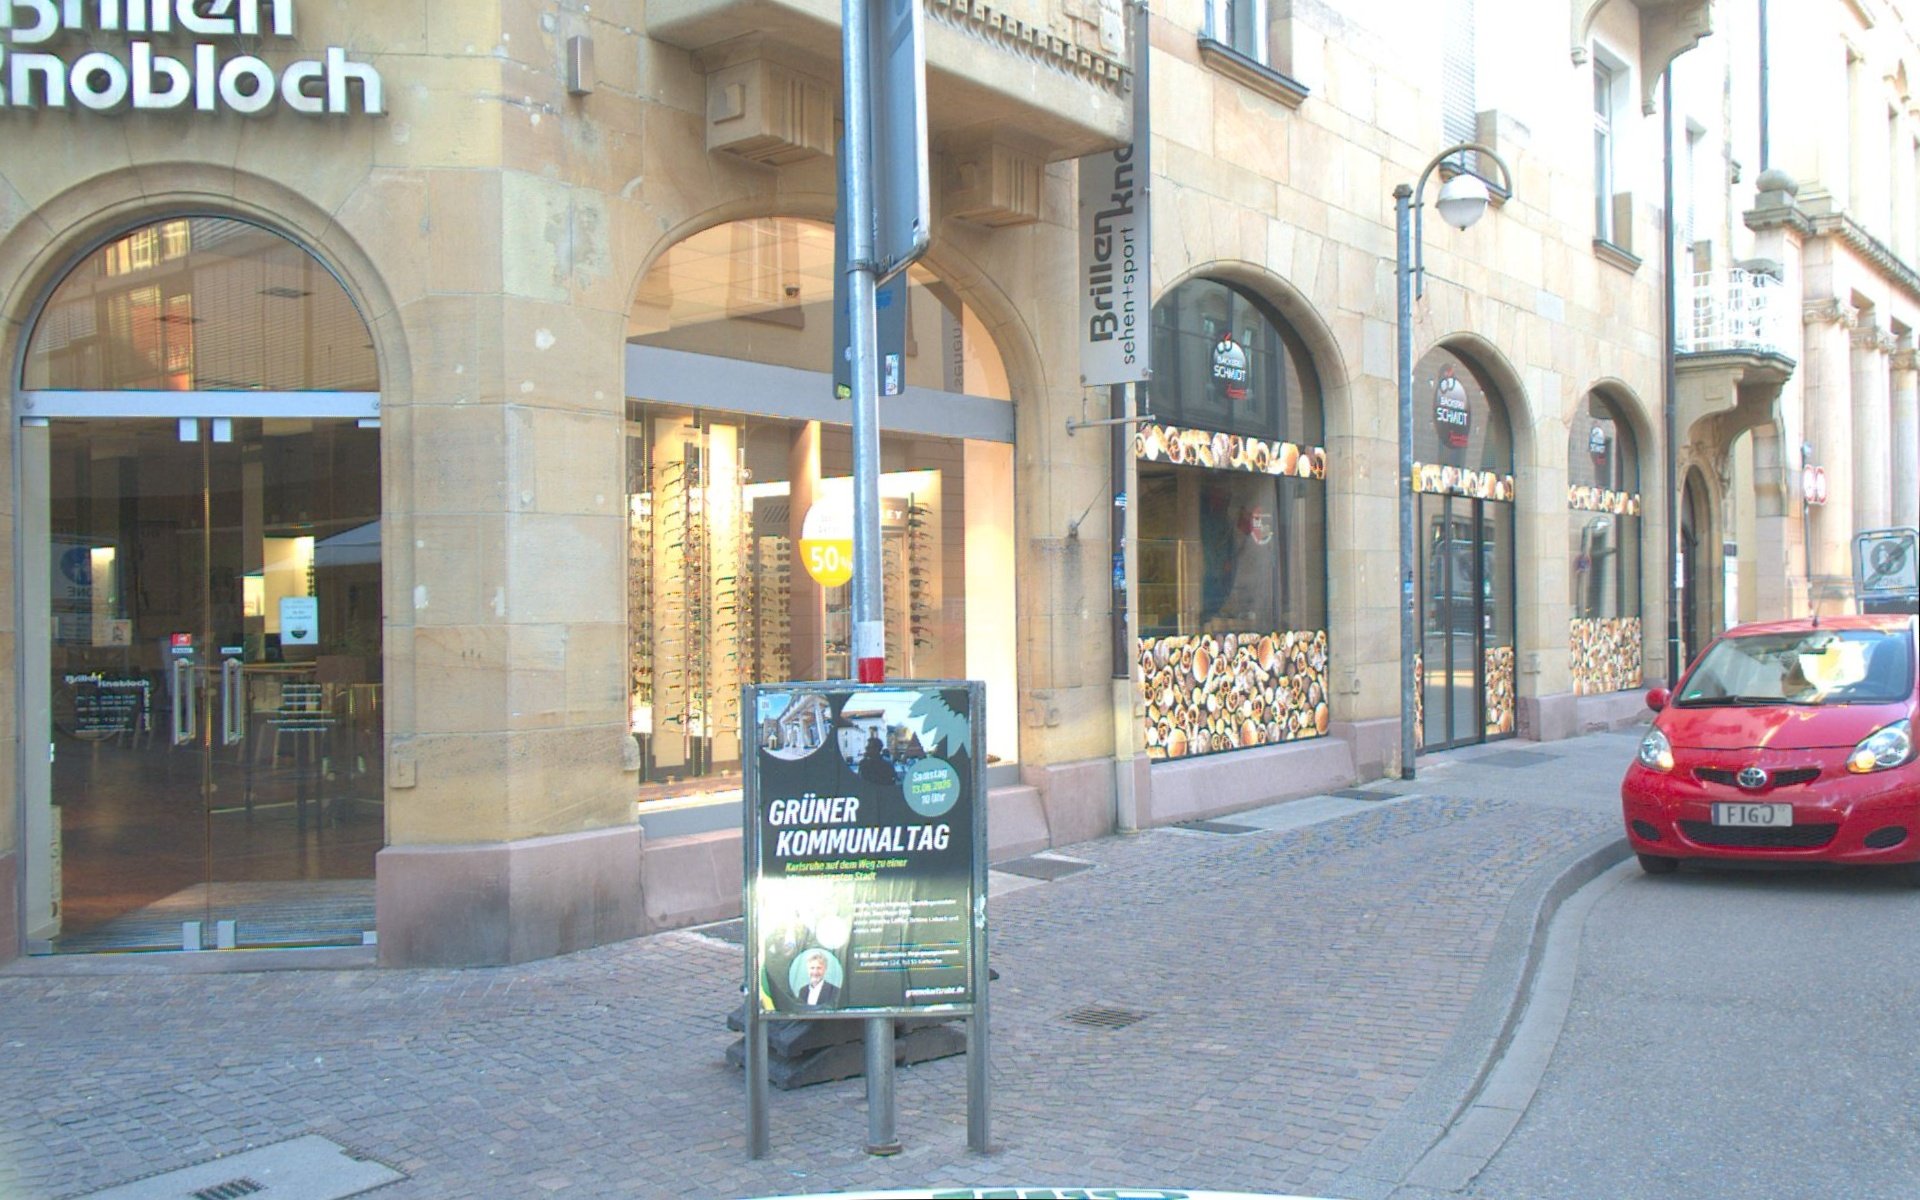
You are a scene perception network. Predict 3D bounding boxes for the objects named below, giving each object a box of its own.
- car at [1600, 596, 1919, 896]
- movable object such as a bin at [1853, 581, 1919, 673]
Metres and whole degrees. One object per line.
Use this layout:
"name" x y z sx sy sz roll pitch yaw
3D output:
"car" 5.494 0.750 10.242 1.632 1.495 3.911 -4 -2 40
"movable object such as a bin" 15.886 0.447 28.323 0.816 1.529 1.284 0 1 40
